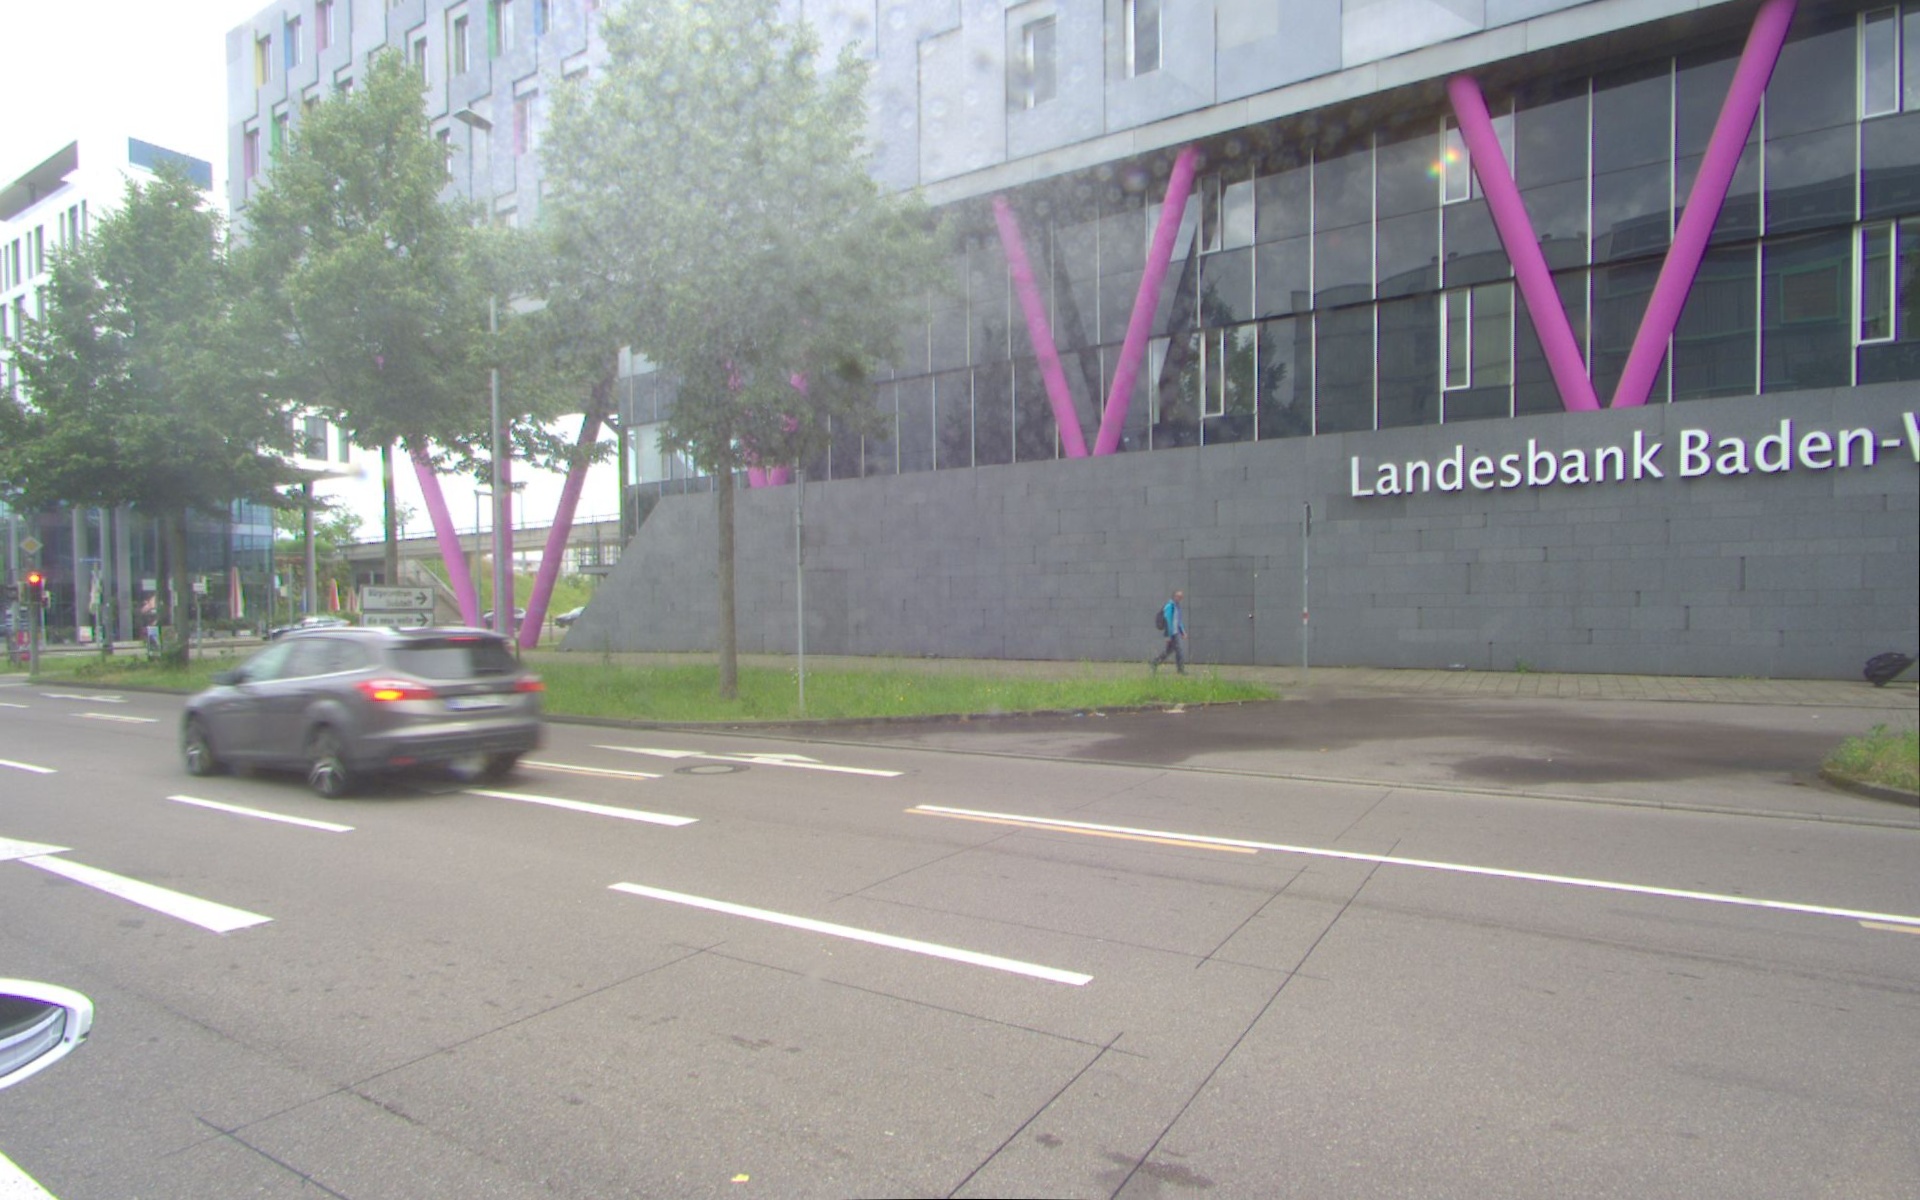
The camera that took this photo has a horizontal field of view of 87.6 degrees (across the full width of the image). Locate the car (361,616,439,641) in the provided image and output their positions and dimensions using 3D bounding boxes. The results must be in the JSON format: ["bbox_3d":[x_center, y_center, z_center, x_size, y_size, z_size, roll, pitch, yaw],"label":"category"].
[{"bbox_3d":[-36.240,1.821,64.919,1.734,1.474,4.070,0,0,34],"label":"car"}]

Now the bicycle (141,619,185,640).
[{"bbox_3d":[-44.001,1.626,55.319,0.609,1.100,1.787,0,0,34],"label":"bicycle"}]

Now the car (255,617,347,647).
[{"bbox_3d":[-39.172,1.892,59.645,1.734,1.636,4.240,0,0,34],"label":"car"}]

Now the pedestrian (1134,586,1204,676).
[{"bbox_3d":[4.310,0.613,20.639,1.121,1.794,1.049,0,1,33],"label":"pedestrian"}]

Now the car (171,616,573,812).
[{"bbox_3d":[-5.929,0.950,9.962,4.207,1.519,1.744,0,0,33],"label":"car"}]

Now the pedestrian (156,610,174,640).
[{"bbox_3d":[-43.969,1.361,55.357,0.610,1.625,0.613,0,1,34],"label":"pedestrian"}]

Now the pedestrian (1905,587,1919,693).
[{"bbox_3d":[15.085,0.608,15.220,0.902,1.604,0.782,0,1,33],"label":"pedestrian"}]
